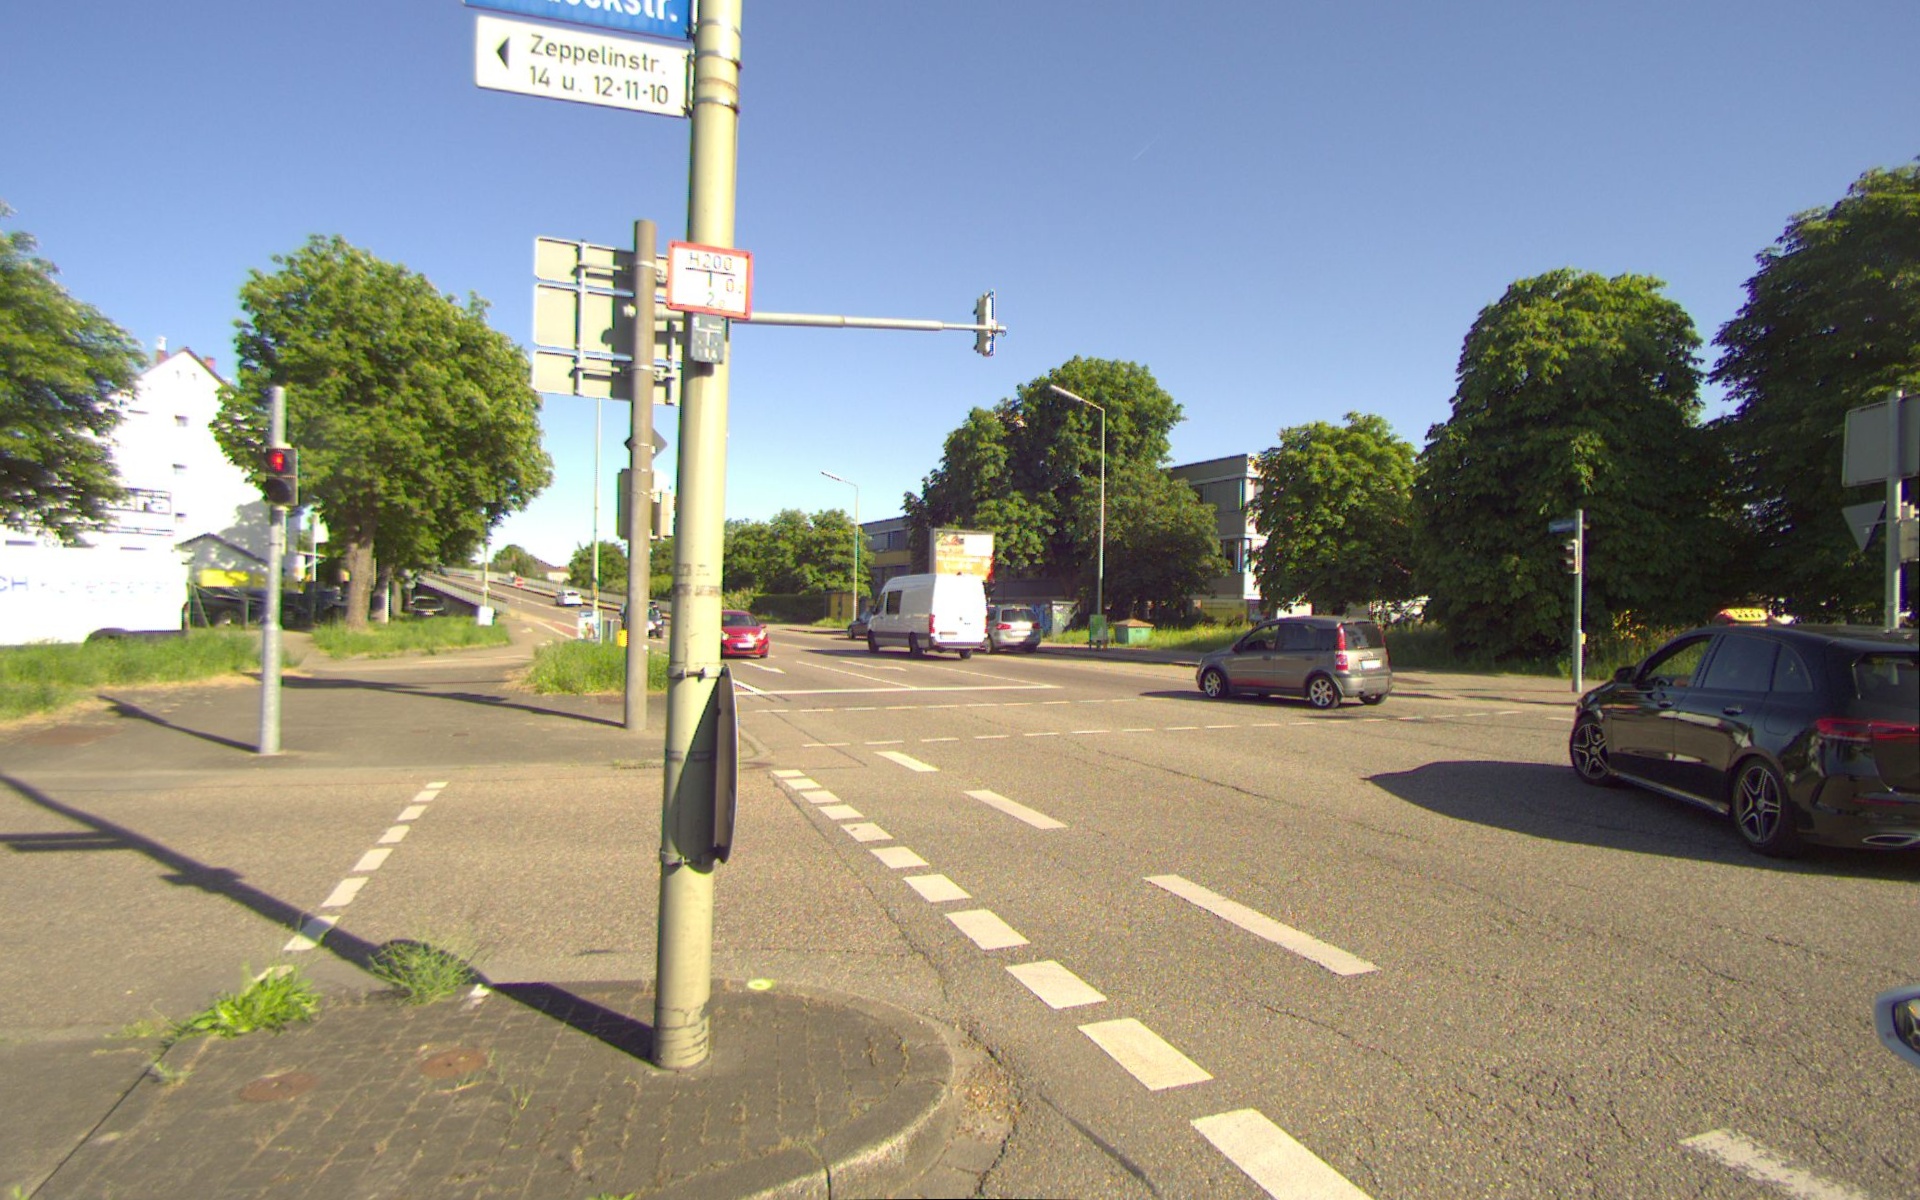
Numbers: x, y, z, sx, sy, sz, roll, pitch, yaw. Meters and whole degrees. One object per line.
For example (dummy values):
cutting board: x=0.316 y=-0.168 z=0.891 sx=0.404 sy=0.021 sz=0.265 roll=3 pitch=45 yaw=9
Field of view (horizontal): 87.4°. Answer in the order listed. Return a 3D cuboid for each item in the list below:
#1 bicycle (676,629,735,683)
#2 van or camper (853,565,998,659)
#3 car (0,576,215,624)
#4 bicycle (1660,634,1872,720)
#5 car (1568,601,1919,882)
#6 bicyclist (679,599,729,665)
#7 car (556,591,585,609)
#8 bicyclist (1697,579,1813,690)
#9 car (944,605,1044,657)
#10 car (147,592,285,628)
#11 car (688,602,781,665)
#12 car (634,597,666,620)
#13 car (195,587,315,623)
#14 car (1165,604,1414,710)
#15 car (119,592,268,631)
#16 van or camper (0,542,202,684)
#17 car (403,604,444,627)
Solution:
bicycle: x=-5.646 y=1.214 z=22.172 sx=0.927 sy=1.030 sz=2.184 roll=2 pitch=0 yaw=-23
van or camper: x=-1.343 y=0.348 z=33.498 sx=2.204 sy=2.775 sz=7.034 roll=2 pitch=0 yaw=-25
car: x=-26.553 y=0.024 z=31.111 sx=2.318 sy=1.327 sz=5.052 roll=2 pitch=0 yaw=29
bicycle: x=12.857 y=1.184 z=16.208 sx=0.886 sy=1.140 sz=2.951 roll=2 pitch=0 yaw=-4
car: x=6.355 y=0.850 z=7.673 sx=1.739 sy=1.614 sz=3.991 roll=1 pitch=0 yaw=13
bicyclist: x=-5.693 y=0.698 z=22.324 sx=0.923 sy=1.420 sz=0.818 roll=2 pitch=0 yaw=-23
car: x=-37.304 y=-0.017 z=96.172 sx=1.862 sy=1.564 sz=3.965 roll=2 pitch=0 yaw=-32
bicyclist: x=12.872 y=0.546 z=16.302 sx=0.875 sy=1.715 sz=1.189 roll=2 pitch=0 yaw=-4
car: x=1.163 y=1.062 z=36.841 sx=1.853 sy=1.745 sz=4.584 roll=-1 pitch=0 yaw=-25
car: x=-28.392 y=0.405 z=38.394 sx=2.014 sy=1.257 sz=3.912 roll=2 pitch=0 yaw=42
car: x=-7.134 y=0.998 z=31.481 sx=1.835 sy=1.759 sz=4.240 roll=2 pitch=0 yaw=-27
car: x=-23.662 y=0.618 z=76.513 sx=1.971 sy=1.702 sz=3.978 roll=0 pitch=0 yaw=-23
car: x=-33.869 y=0.254 z=48.341 sx=1.787 sy=1.596 sz=4.388 roll=2 pitch=0 yaw=40
car: x=5.781 y=0.930 z=18.019 sx=1.793 sy=1.661 sz=3.959 roll=2 pitch=-1 yaw=-36
car: x=-27.239 y=0.434 z=35.788 sx=2.014 sy=1.257 sz=3.912 roll=2 pitch=0 yaw=42
van or camper: x=-18.786 y=0.241 z=19.084 sx=2.556 sy=2.617 sz=6.606 roll=0 pitch=0 yaw=25
car: x=-37.183 y=1.076 z=69.543 sx=2.023 sy=1.483 sz=4.915 roll=2 pitch=-1 yaw=-34
